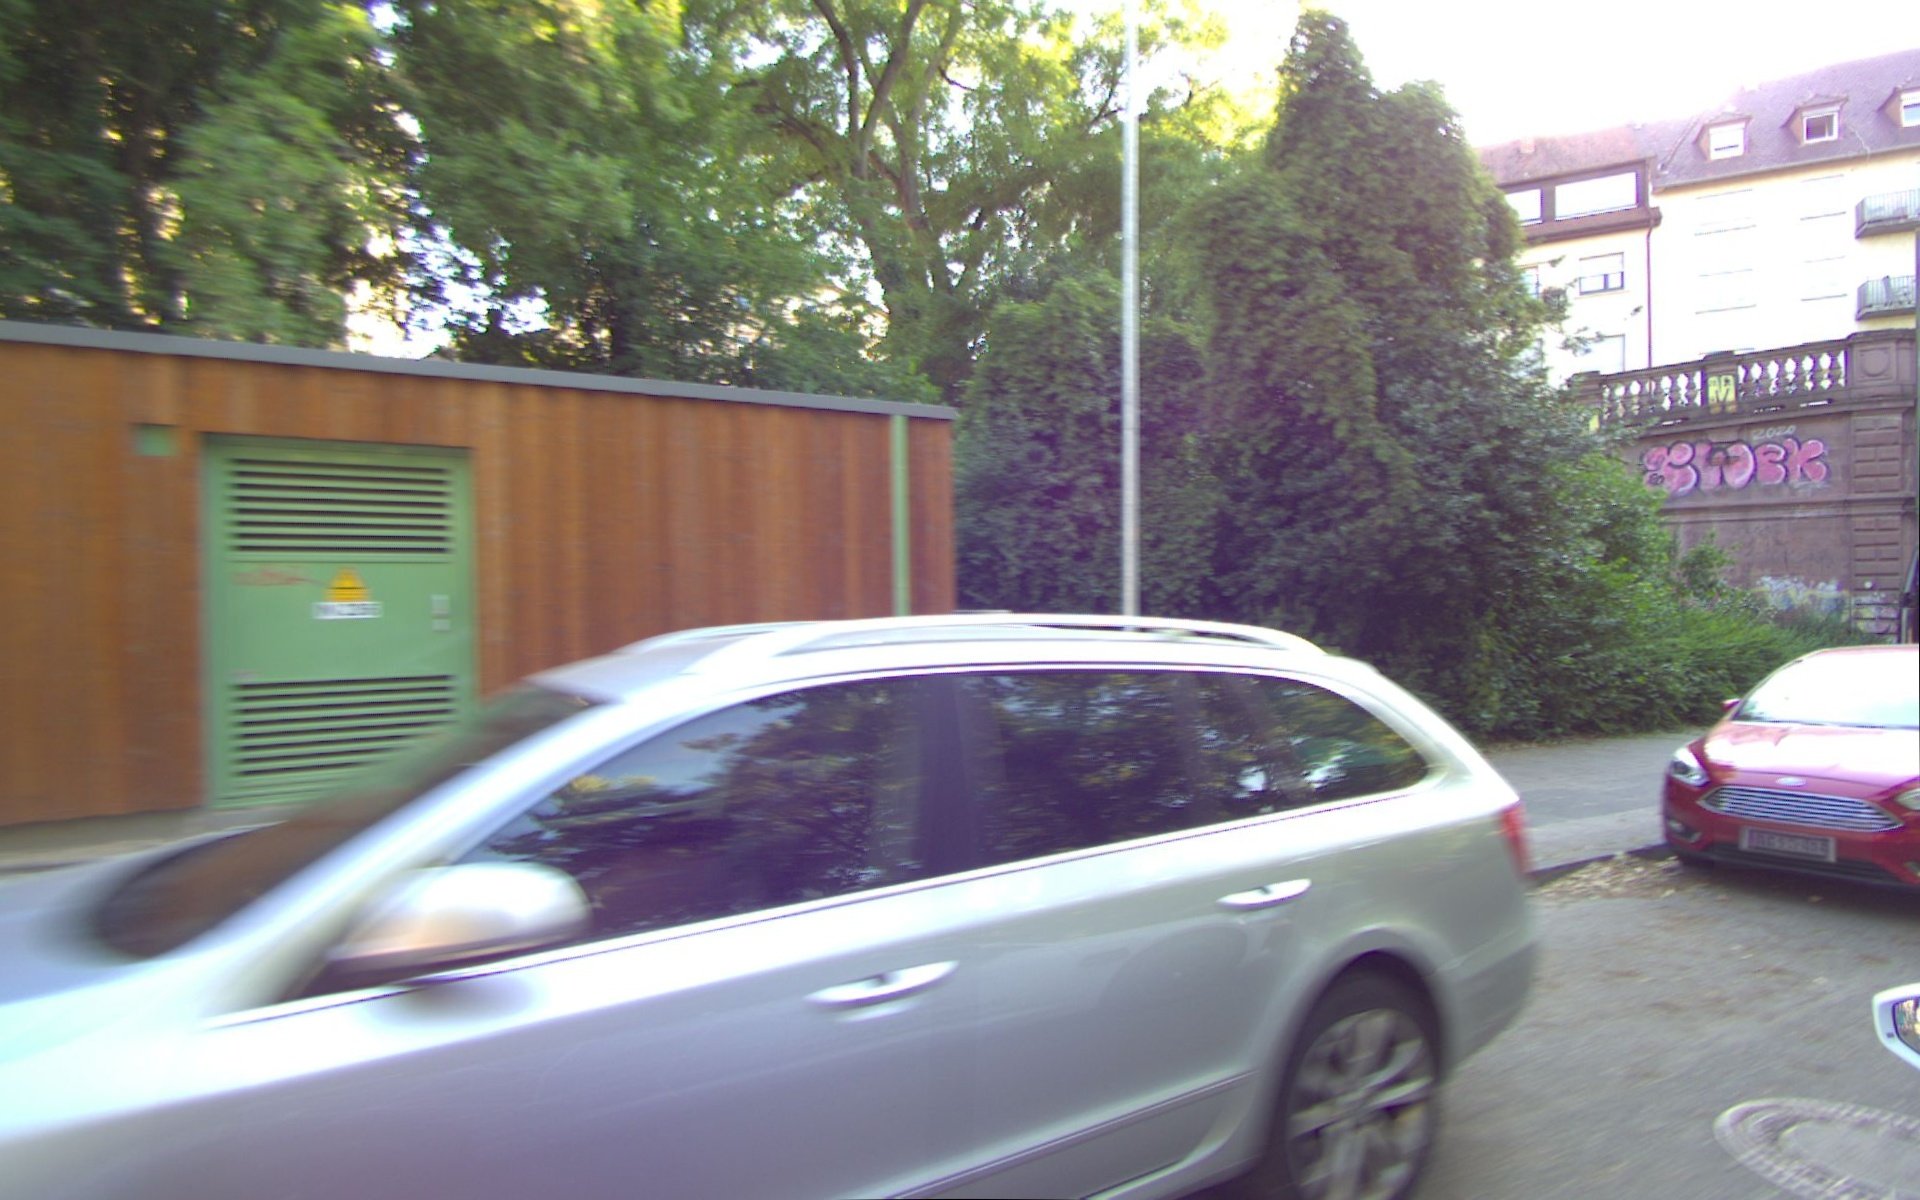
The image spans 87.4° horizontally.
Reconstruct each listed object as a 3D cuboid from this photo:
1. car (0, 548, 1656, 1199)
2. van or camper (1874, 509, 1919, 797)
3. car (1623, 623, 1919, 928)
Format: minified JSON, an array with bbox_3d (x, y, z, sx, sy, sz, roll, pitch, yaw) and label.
[{"bbox_3d":[-0.361,0.755,2.574,4.494,1.517,1.692,1,-3,-29],"label":"car"},{"bbox_3d":[11.594,0.525,9.996,6.354,2.556,2.222,1,0,-34],"label":"van or camper"},{"bbox_3d":[6.312,0.943,6.599,4.182,1.527,1.690,1,-3,-32],"label":"car"}]
